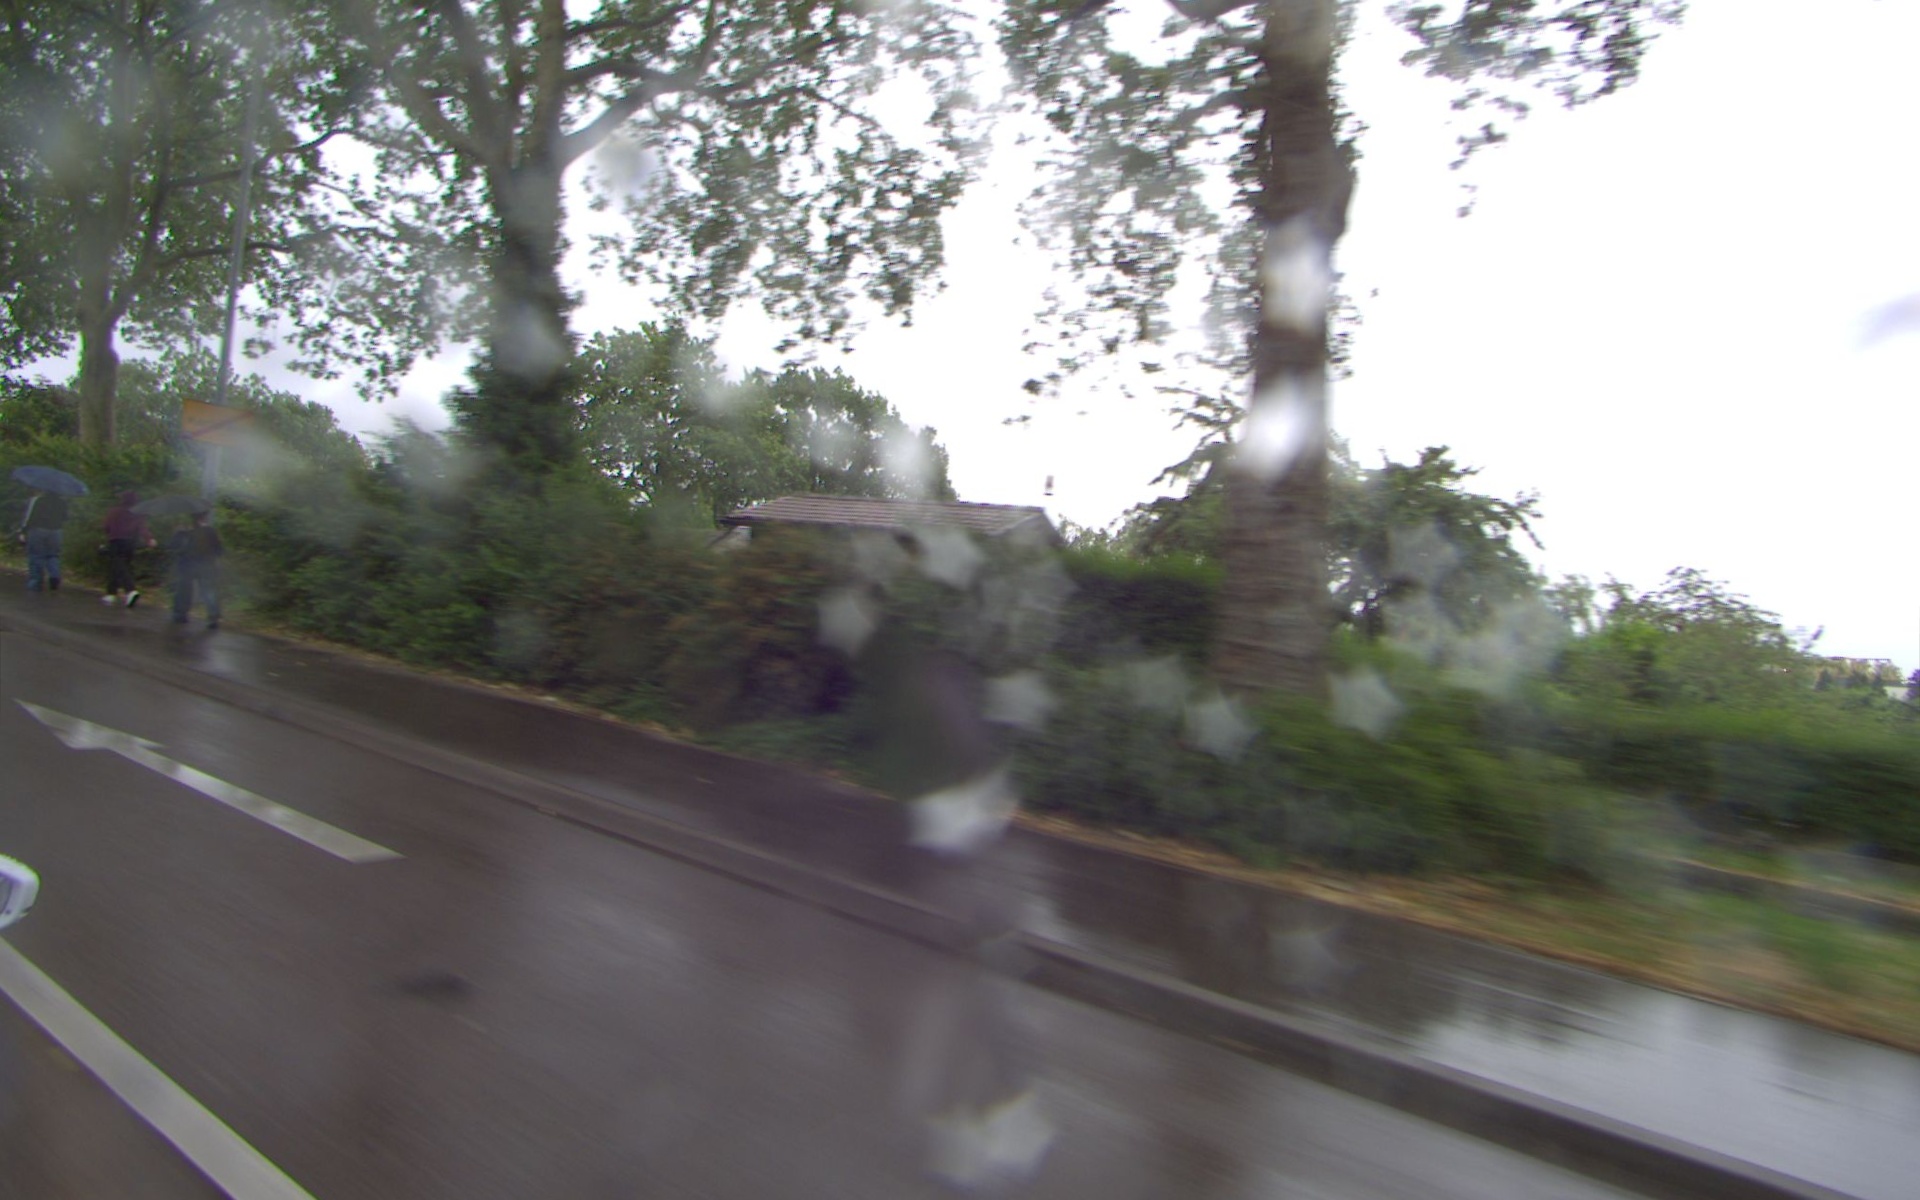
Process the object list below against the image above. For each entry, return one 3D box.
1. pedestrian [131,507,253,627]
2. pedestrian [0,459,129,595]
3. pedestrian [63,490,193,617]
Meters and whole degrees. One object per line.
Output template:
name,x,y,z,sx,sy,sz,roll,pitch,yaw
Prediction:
pedestrian,-9.934,-0.416,13.023,0.999,1.408,0.892,7,2,32
pedestrian,-13.511,-1.079,15.050,1.128,1.808,1.241,7,0,31
pedestrian,-11.673,-0.648,14.114,1.272,1.609,0.947,7,1,32
